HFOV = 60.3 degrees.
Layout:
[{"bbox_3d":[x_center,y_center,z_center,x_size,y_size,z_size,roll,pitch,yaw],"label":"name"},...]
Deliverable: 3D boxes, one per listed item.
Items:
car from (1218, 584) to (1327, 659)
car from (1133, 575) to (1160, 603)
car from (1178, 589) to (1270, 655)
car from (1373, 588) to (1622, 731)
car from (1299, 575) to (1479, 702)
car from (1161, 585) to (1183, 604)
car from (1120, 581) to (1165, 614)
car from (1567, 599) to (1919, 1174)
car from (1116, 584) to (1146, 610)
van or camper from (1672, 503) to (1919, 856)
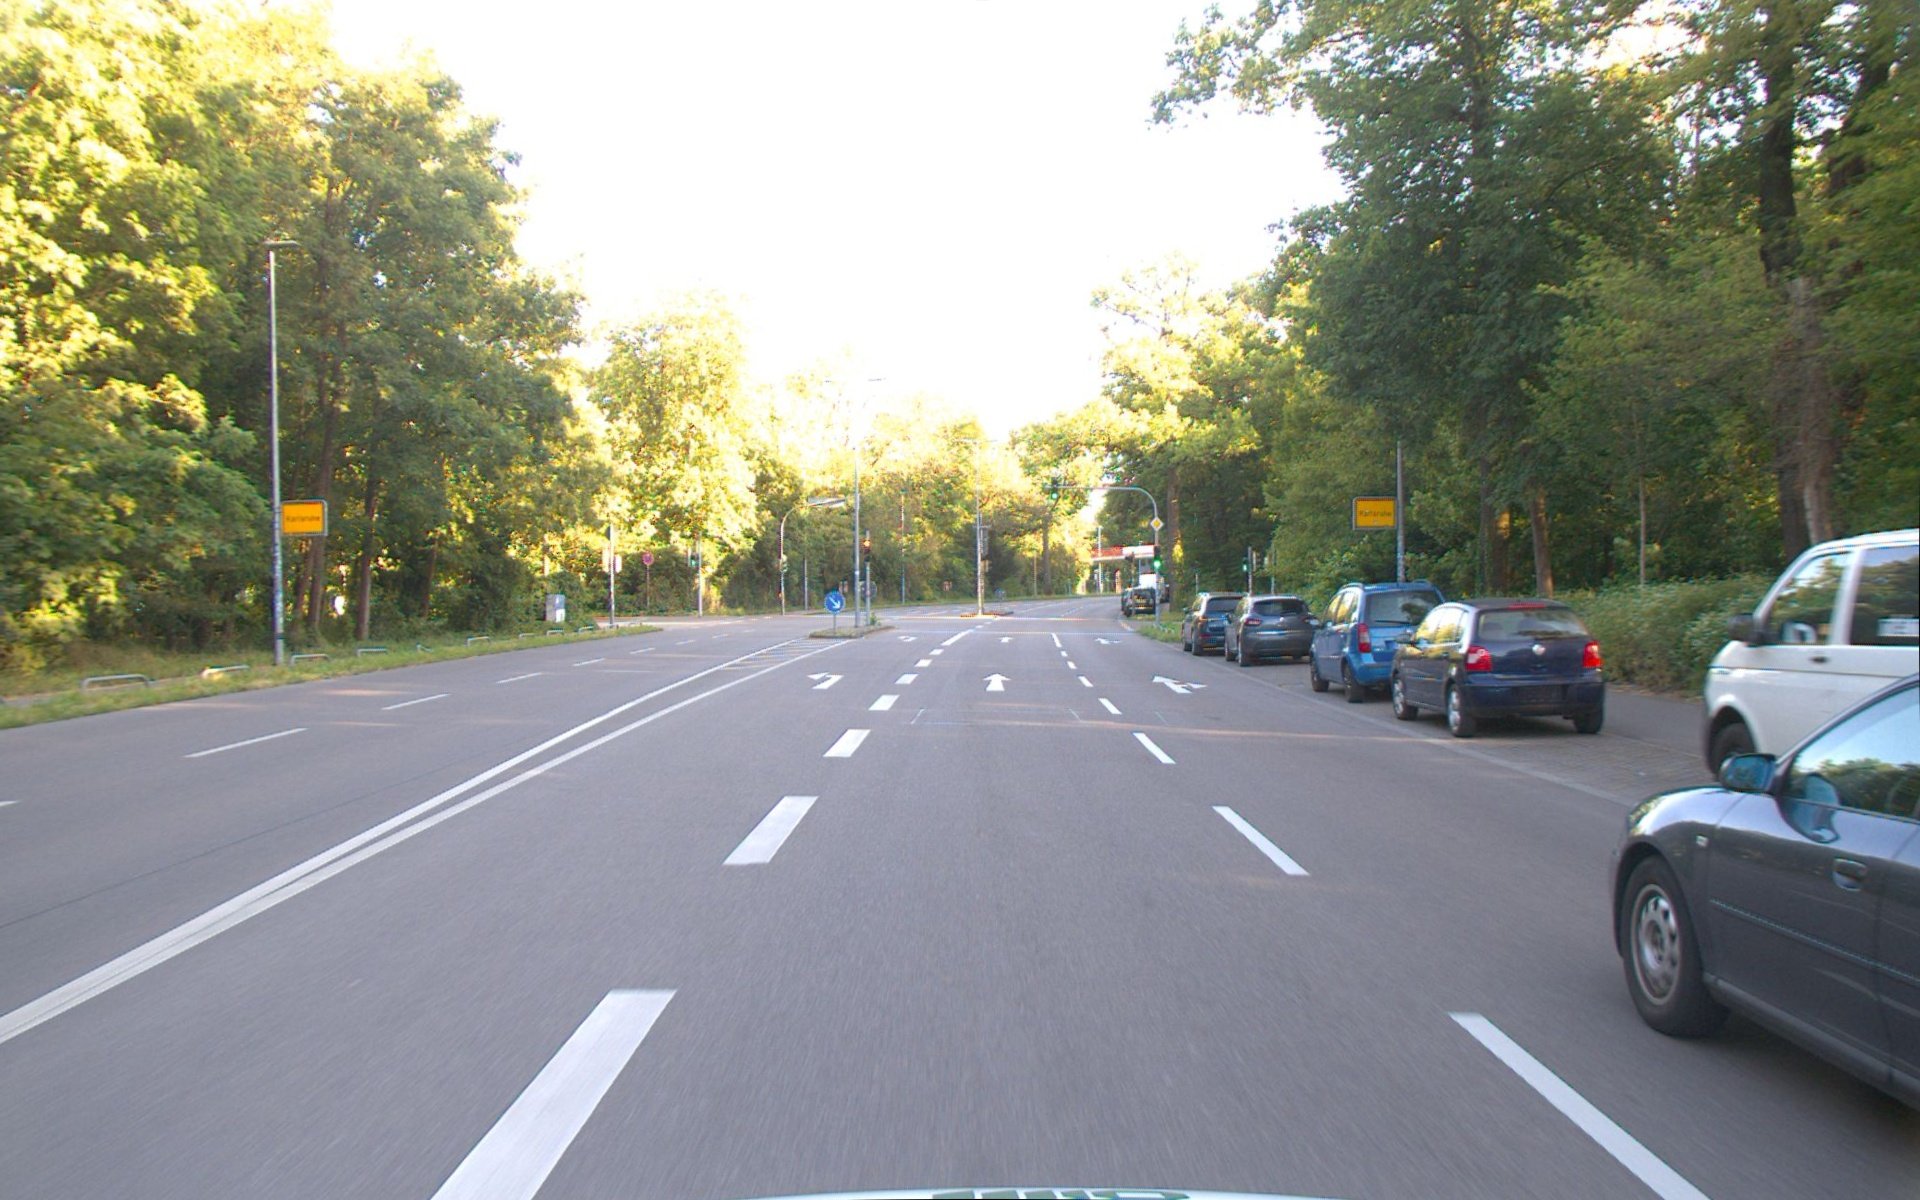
[{"bbox_3d":[6.665,0.424,35.619,1.692,1.516,4.091,0,0,1],"label":"car"},{"bbox_3d":[16.116,-0.943,143.359,2.259,2.376,4.563,0,0,6],"label":"car"},{"bbox_3d":[6.514,0.514,41.117,1.692,1.487,4.168,-2,0,2],"label":"car"},{"bbox_3d":[6.188,0.617,19.511,1.616,1.466,4.113,-1,0,1],"label":"car"},{"bbox_3d":[6.346,0.520,24.895,1.692,1.734,4.090,0,0,1],"label":"car"},{"bbox_3d":[21.644,-0.574,169.174,1.952,1.937,4.001,0,0,2],"label":"car"},{"bbox_3d":[9.719,-0.151,88.189,1.953,1.646,4.000,-2,0,0],"label":"car"},{"bbox_3d":[3.325,0.747,4.684,1.692,1.466,4.089,0,0,0],"label":"car"},{"bbox_3d":[11.415,-0.204,110.330,1.951,1.646,4.003,-1,1,6],"label":"car"},{"bbox_3d":[6.345,0.451,9.906,1.795,2.005,5.340,0,0,-1],"label":"van or camper"}]
